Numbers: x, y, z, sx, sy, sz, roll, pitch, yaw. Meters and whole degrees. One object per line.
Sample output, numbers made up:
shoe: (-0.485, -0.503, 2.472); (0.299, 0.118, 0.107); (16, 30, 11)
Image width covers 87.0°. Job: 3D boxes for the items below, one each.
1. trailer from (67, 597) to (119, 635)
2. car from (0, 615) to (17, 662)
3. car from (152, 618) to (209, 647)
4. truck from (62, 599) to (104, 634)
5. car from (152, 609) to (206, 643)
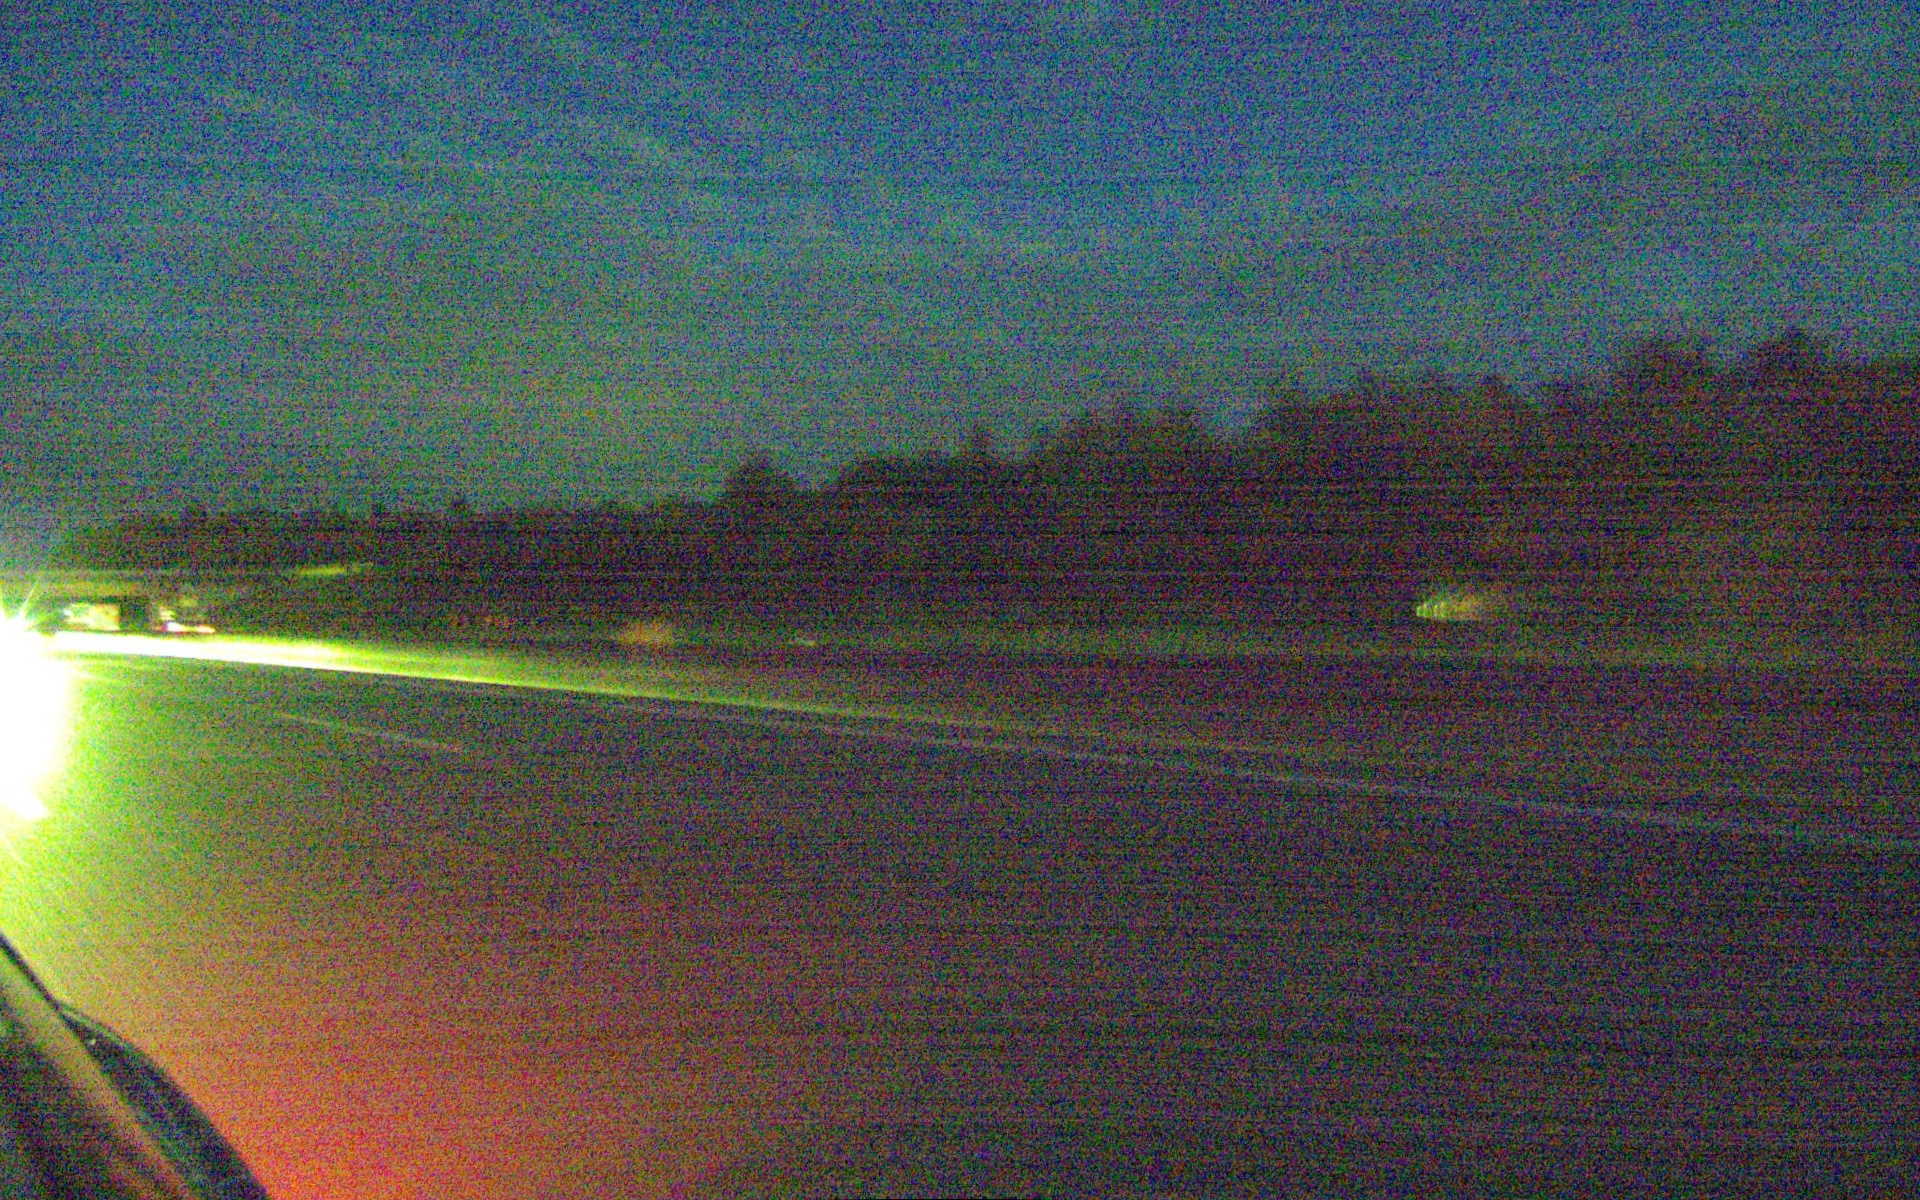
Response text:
trailer: (-102.310, 1.928, 119.334); (13.036, 4.265, 3.023); (-1, -1, 42)
car: (-38.276, 1.482, 39.224); (5.940, 1.734, 1.973); (-1, -1, 42)
car: (-57.743, 2.378, 74.919); (5.740, 2.029, 2.309); (-1, -1, 41)
truck: (-107.341, 2.023, 123.836); (6.746, 4.265, 3.023); (-1, -1, 42)
car: (-71.847, 2.393, 93.062); (7.134, 3.052, 2.467); (-1, -1, 40)
